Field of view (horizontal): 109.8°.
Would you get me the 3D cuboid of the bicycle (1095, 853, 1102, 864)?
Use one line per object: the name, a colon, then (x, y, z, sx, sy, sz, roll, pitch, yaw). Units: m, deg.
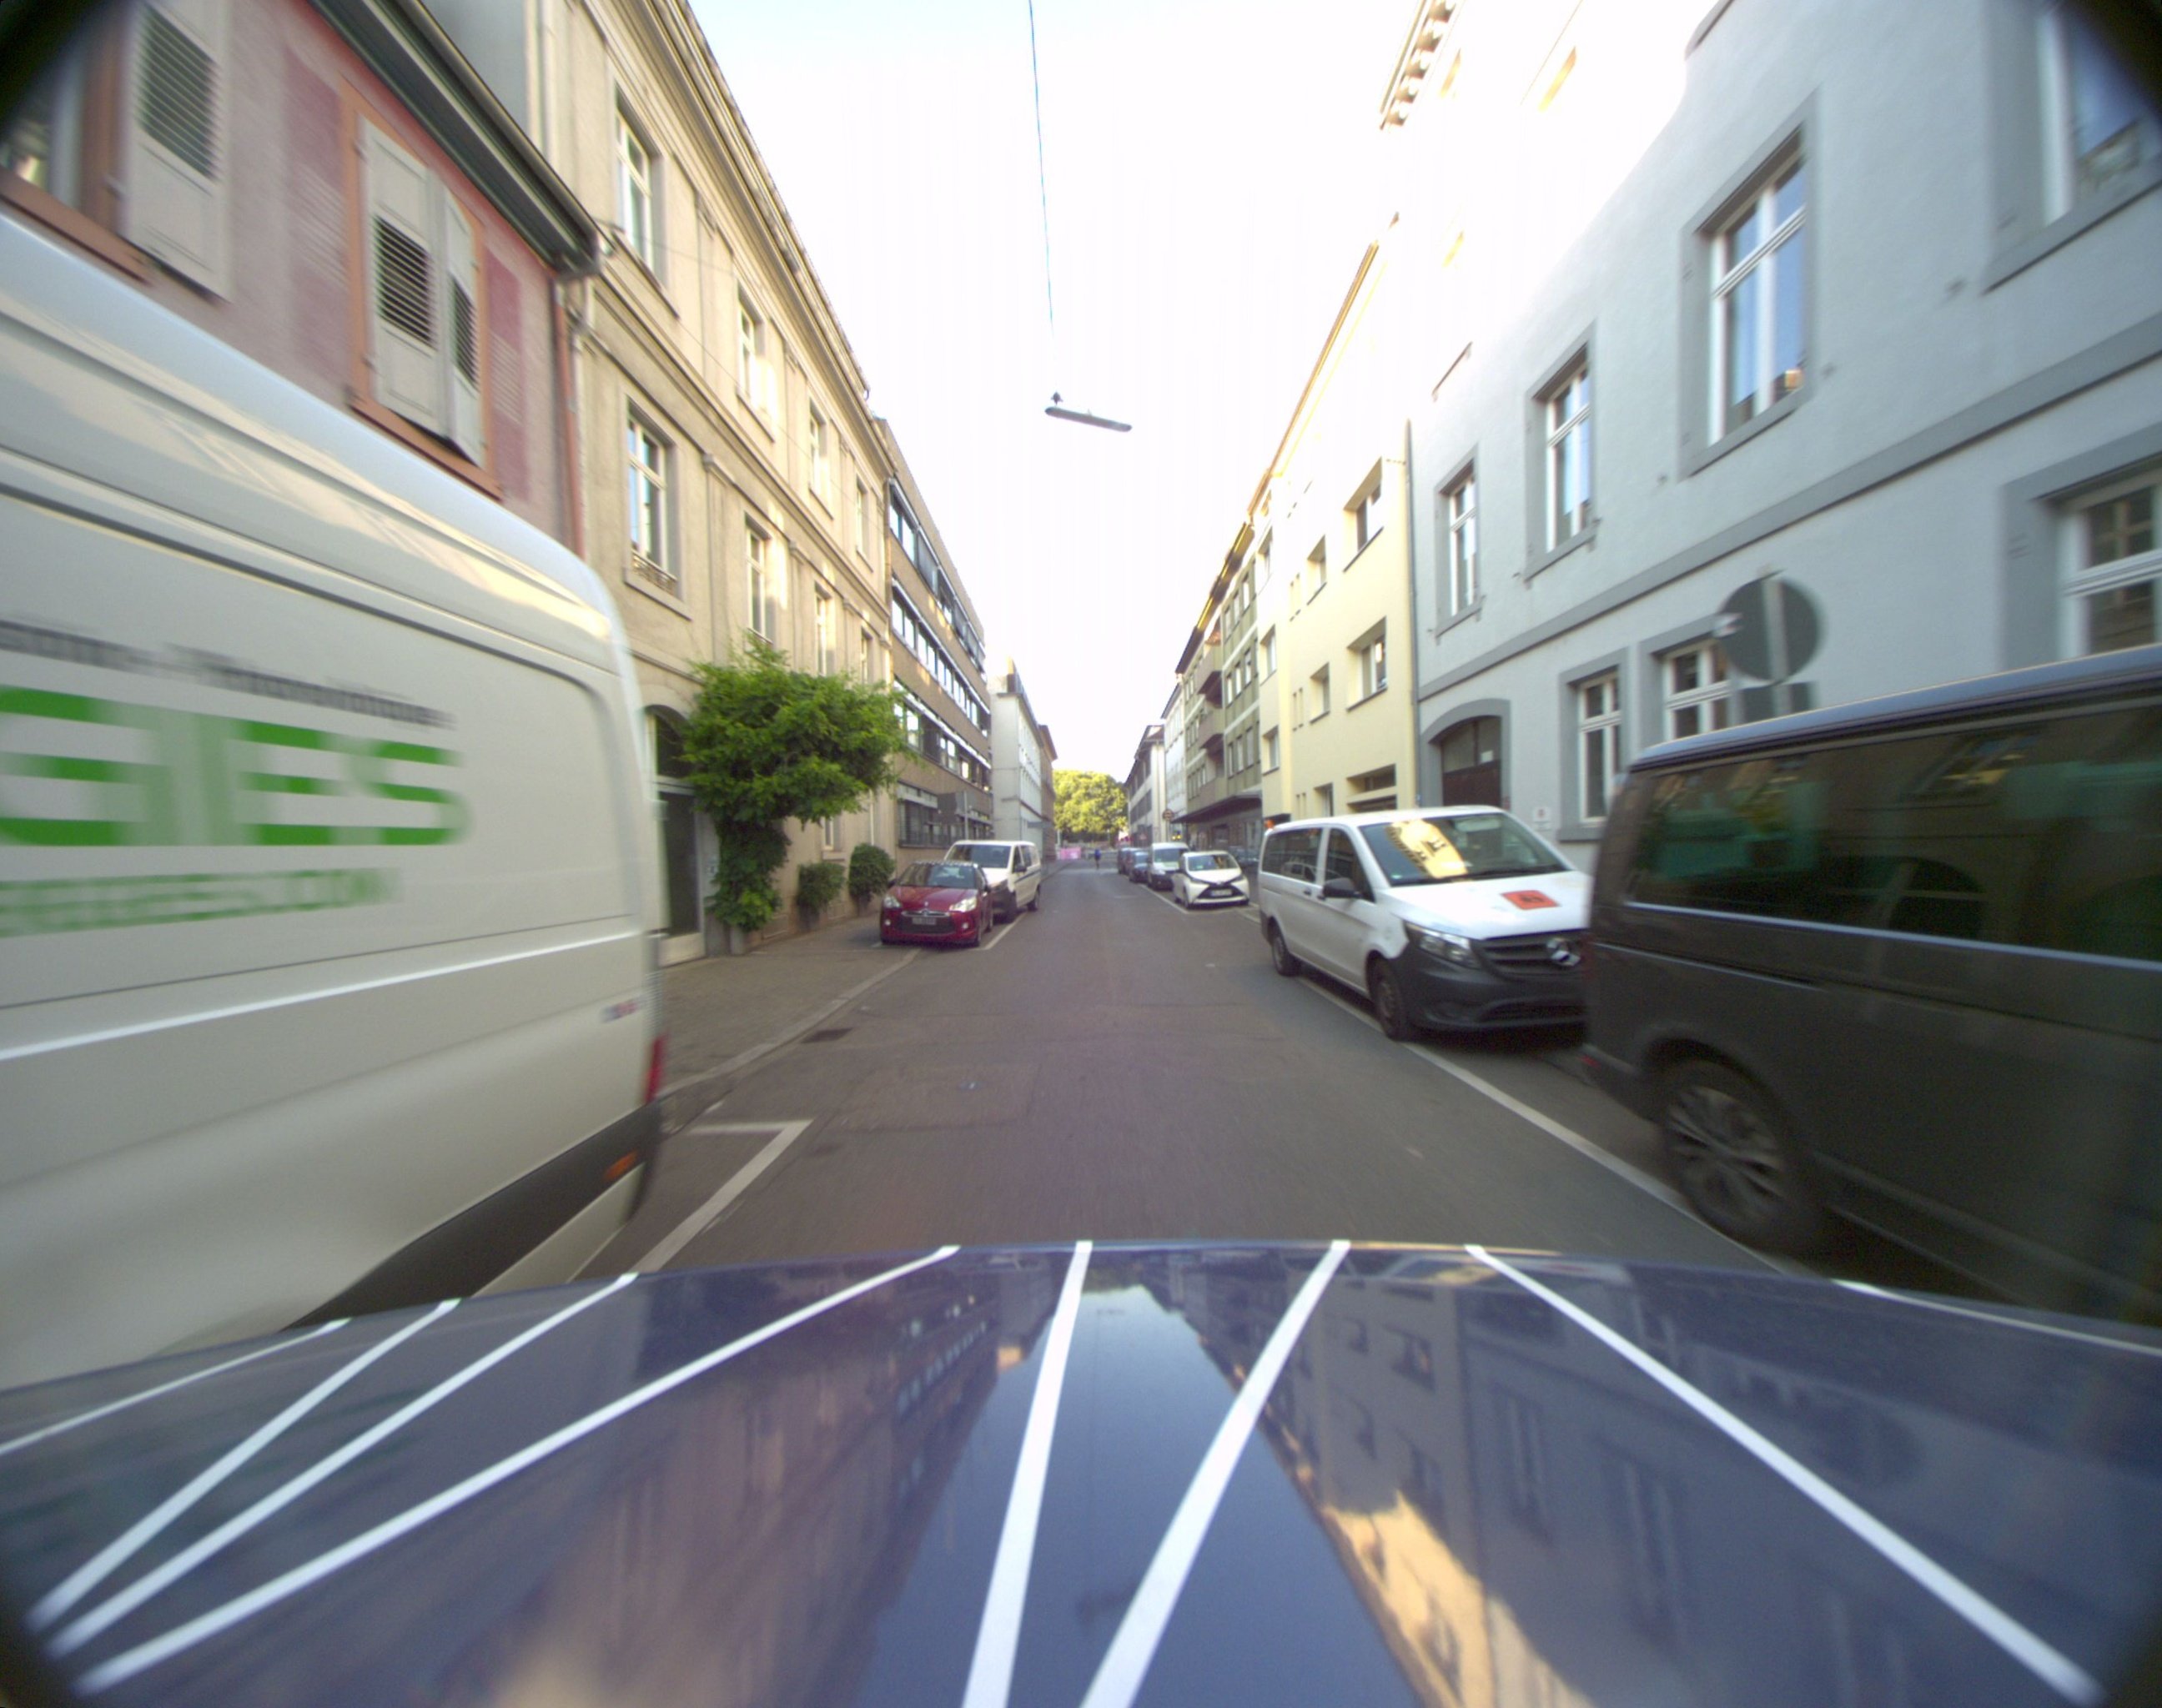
bicycle: (1.546, 0.426, 67.573, 0.635, 0.916, 1.779, -2, 1, 1)

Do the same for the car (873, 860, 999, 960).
car: (-2.513, 0.914, 14.035, 1.659, 1.496, 3.753, -1, 0, -1)

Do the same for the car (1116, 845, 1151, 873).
car: (3.630, 0.332, 53.094, 1.882, 1.800, 4.449, -2, 1, -2)

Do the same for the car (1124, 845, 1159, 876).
car: (3.760, 0.381, 47.961, 1.777, 1.800, 4.509, -2, 1, 0)

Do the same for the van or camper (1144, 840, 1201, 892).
van or camper: (3.478, 0.417, 29.494, 1.776, 1.837, 4.178, -1, 1, 2)

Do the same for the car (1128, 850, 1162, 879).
car: (3.591, 0.557, 43.182, 1.628, 1.476, 3.877, -1, 1, 1)

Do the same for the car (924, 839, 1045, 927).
car: (-2.225, 0.610, 19.048, 1.940, 1.887, 5.278, -1, 0, 4)

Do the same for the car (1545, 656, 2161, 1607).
car: (3.199, 0.572, 1.260, 1.867, 2.002, 4.813, -1, 0, -1)

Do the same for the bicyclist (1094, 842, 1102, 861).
bicyclist: (1.527, -0.218, 67.648, 0.625, 1.630, 1.081, -2, 1, 1)

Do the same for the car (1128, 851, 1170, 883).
car: (3.298, 0.590, 37.620, 1.628, 1.408, 3.980, -2, 1, -1)

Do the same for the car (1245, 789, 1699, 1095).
car: (3.173, 0.570, 7.625, 1.867, 2.002, 5.105, -1, 0, -1)

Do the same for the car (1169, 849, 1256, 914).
car: (3.437, 0.663, 20.430, 1.666, 1.440, 3.520, -5, 1, 1)
